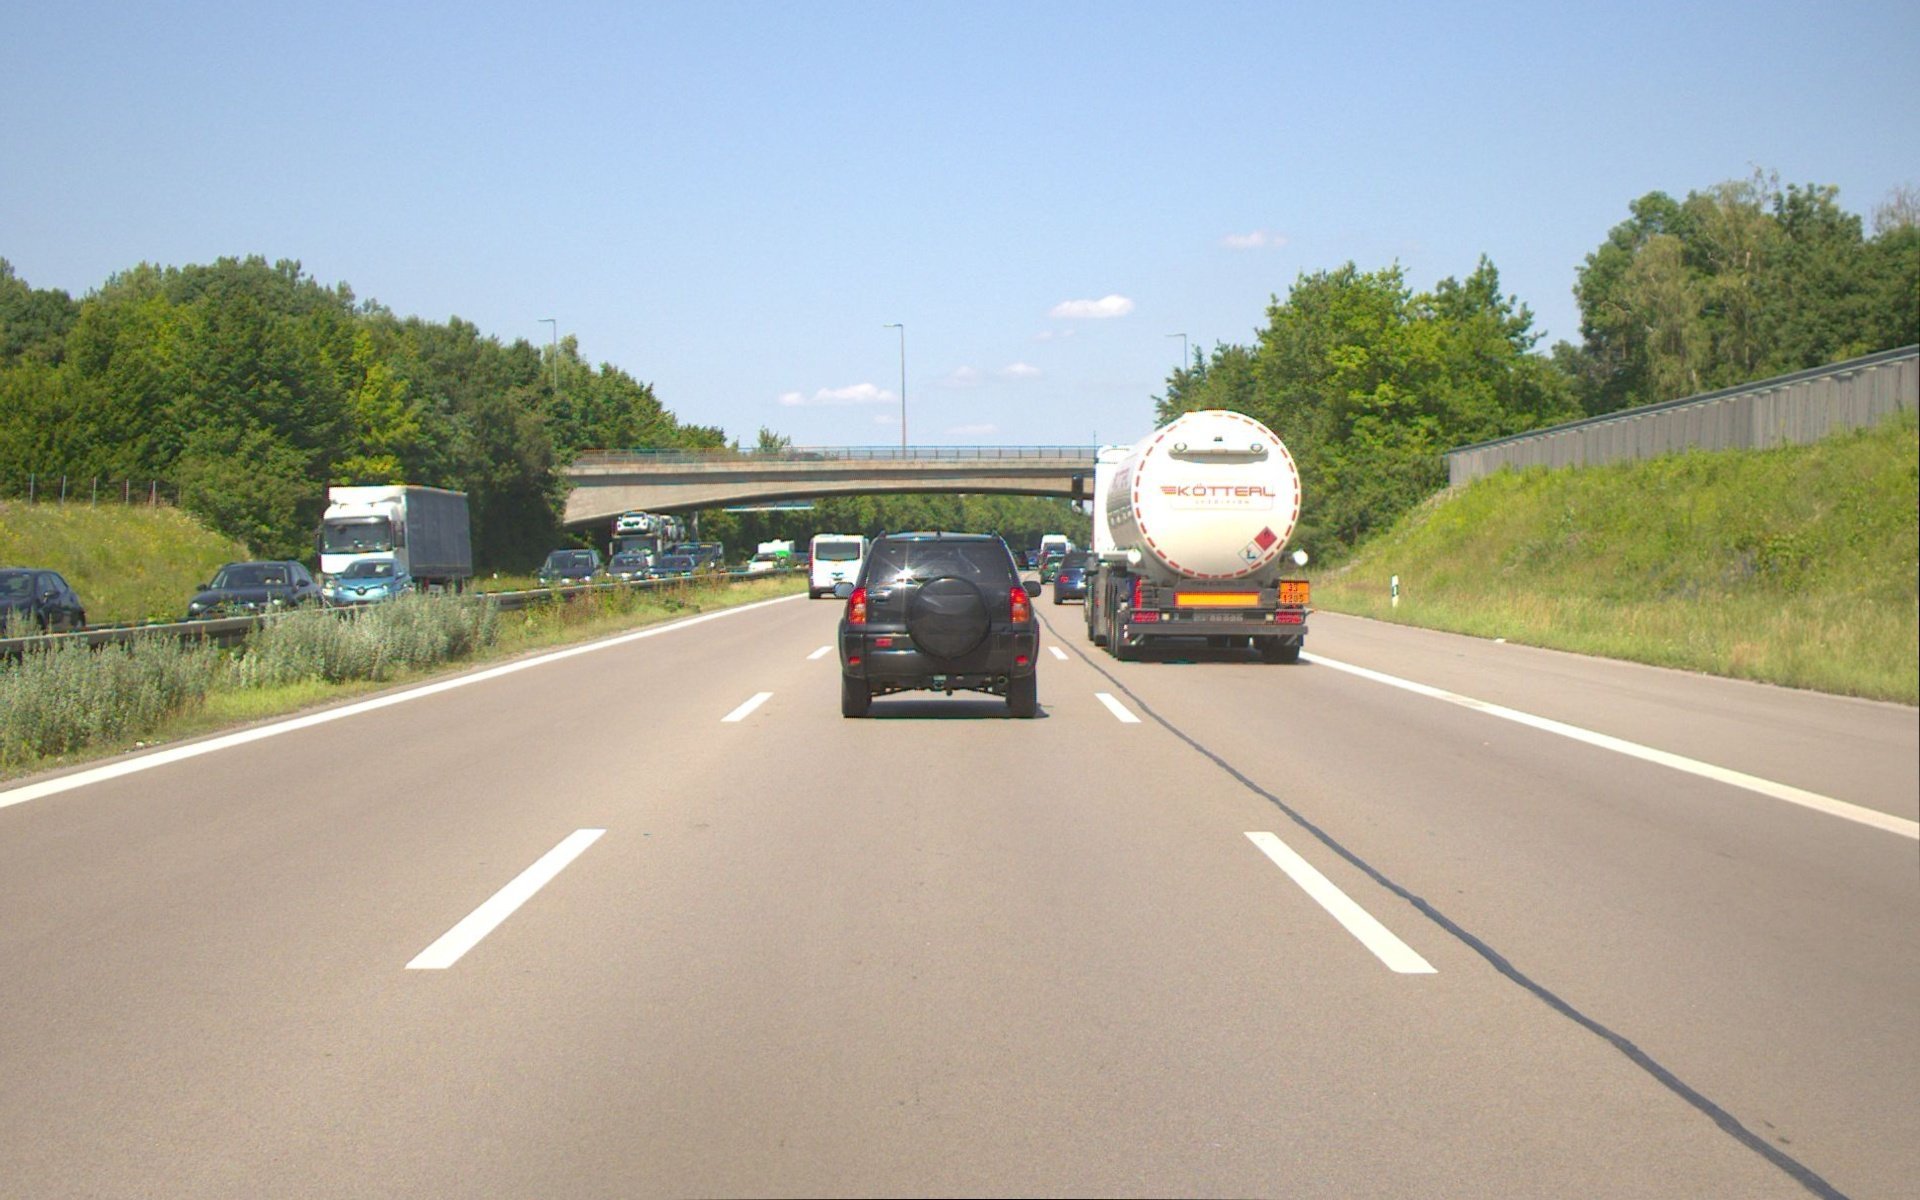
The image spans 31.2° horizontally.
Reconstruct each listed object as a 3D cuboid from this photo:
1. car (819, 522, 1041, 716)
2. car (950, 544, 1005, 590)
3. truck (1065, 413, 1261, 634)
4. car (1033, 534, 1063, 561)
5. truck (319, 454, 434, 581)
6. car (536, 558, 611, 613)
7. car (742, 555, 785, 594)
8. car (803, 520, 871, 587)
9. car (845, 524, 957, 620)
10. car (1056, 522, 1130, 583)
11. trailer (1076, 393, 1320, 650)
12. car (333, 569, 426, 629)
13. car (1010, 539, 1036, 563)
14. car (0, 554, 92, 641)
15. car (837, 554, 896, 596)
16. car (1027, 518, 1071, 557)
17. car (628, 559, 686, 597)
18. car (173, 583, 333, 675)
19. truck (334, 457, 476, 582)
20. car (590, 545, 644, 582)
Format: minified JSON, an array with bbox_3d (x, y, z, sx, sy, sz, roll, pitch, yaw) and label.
[{"bbox_3d":[-0.259,0.142,31.718,1.906,1.659,4.000,-1,1,0],"label":"car"},{"bbox_3d":[0.654,-1.198,124.756,1.842,1.606,4.000,-1,0,2],"label":"car"},{"bbox_3d":[3.213,-1.217,55.948,2.638,3.363,6.488,0,1,-1],"label":"truck"},{"bbox_3d":[5.811,-3.470,227.900,1.812,1.740,4.000,-1,1,0],"label":"car"},{"bbox_3d":[-19.517,-2.746,115.318,2.672,4.064,6.076,-2,1,0],"label":"truck"},{"bbox_3d":[-11.994,-0.472,106.963,1.858,1.595,4.721,-1,1,-1],"label":"car"},{"bbox_3d":[-10.613,-1.363,185.676,1.993,2.007,4.914,-1,0,1],"label":"car"},{"bbox_3d":[-3.866,-1.466,108.705,1.993,2.007,4.950,-1,1,-1],"label":"car"},{"bbox_3d":[-1.112,-0.526,64.432,1.993,1.700,4.336,-1,1,-1],"label":"car"},{"bbox_3d":[3.807,-1.351,98.794,1.993,1.678,4.000,-1,0,1],"label":"car"},{"bbox_3d":[3.335,-1.121,51.050,2.648,3.378,11.152,0,1,-1],"label":"trailer"},{"bbox_3d":[-15.523,-0.059,92.150,1.794,1.505,4.351,-1,1,-1],"label":"car"},{"bbox_3d":[4.662,-3.681,255.229,1.812,1.740,4.000,-1,1,0],"label":"car"},{"bbox_3d":[-15.986,-0.028,57.194,1.895,1.335,4.764,-3,1,-1],"label":"car"},{"bbox_3d":[-3.517,-0.929,130.013,1.993,1.547,4.000,-1,0,1],"label":"car"},{"bbox_3d":[4.155,-2.928,160.491,1.993,1.773,4.261,-1,1,2],"label":"car"},{"bbox_3d":[-12.142,-0.888,137.965,1.874,1.434,5.018,-1,1,0],"label":"car"},{"bbox_3d":[-12.680,0.495,61.919,1.895,1.422,4.764,-3,1,-1],"label":"car"},{"bbox_3d":[-19.543,-2.811,121.952,2.672,4.064,13.960,-2,1,0],"label":"truck"},{"bbox_3d":[-15.765,-1.698,158.425,1.964,1.635,4.895,-1,1,0],"label":"car"}]
